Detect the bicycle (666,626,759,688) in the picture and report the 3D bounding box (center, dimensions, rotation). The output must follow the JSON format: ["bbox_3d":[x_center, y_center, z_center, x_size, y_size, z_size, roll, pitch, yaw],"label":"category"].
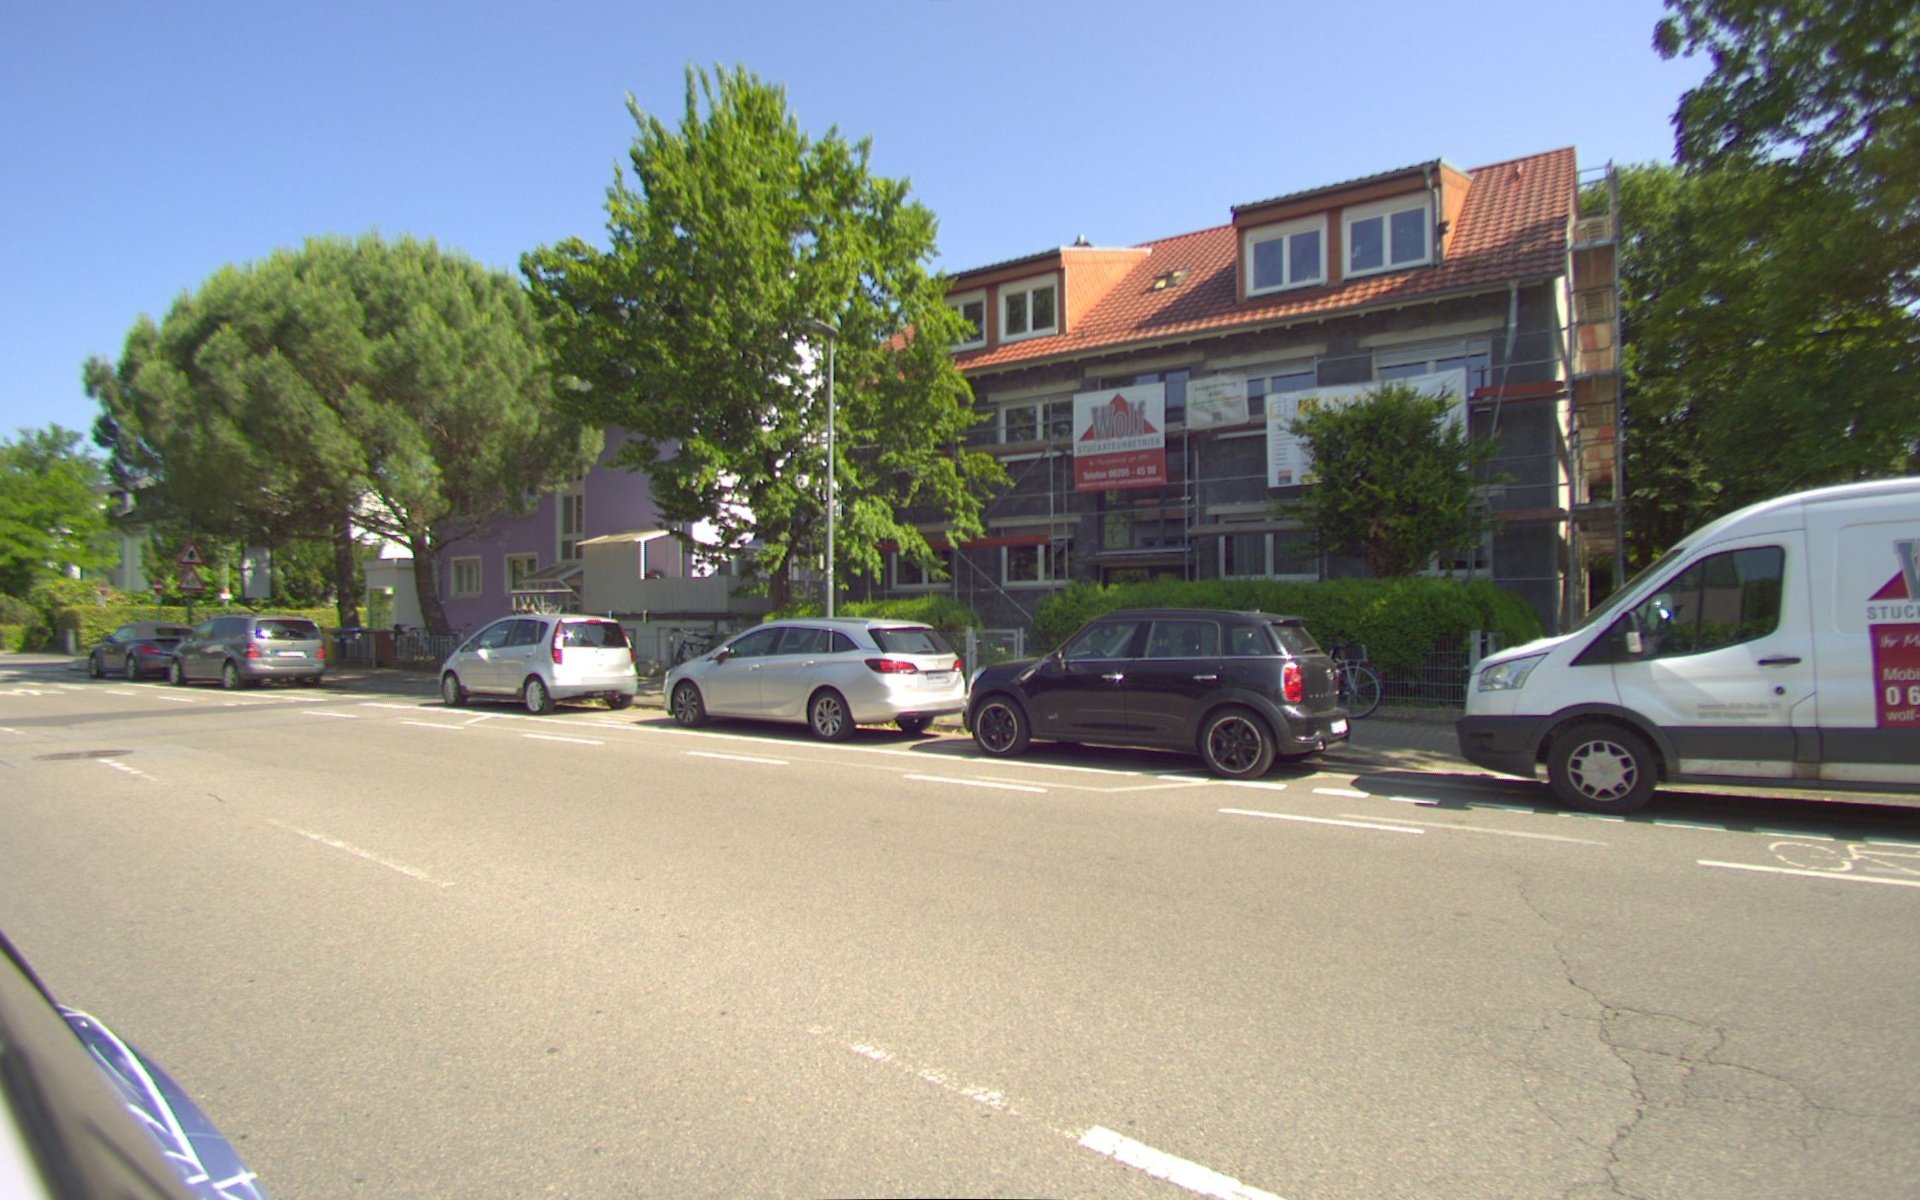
[{"bbox_3d":[-4.896,1.099,19.952,2.236,1.148,0.508,-1,-1,38],"label":"bicycle"}]

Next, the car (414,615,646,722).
[{"bbox_3d":[-7.154,1.076,16.728,3.991,1.571,1.705,-2,-3,36],"label":"car"}]

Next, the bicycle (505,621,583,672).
[{"bbox_3d":[-11.760,1.306,28.663,0.501,1.394,2.155,-2,-3,31],"label":"bicycle"}]

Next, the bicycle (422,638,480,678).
[{"bbox_3d":[-12.869,1.459,25.554,1.909,0.961,0.454,-1,-2,35],"label":"bicycle"}]

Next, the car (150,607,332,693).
[{"bbox_3d":[-16.222,1.106,22.772,4.573,1.778,1.825,-2,-3,34],"label":"car"}]

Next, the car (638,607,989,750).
[{"bbox_3d":[-2.017,0.945,13.171,4.662,1.571,1.705,-2,-3,36],"label":"car"}]

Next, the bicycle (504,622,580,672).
[{"bbox_3d":[-12.045,1.346,29.252,0.501,1.394,2.155,-2,-3,31],"label":"bicycle"}]

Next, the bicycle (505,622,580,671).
[{"bbox_3d":[-12.299,1.373,29.894,0.501,1.394,2.155,-2,-3,31],"label":"bicycle"}]

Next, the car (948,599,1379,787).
[{"bbox_3d":[1.976,0.855,10.365,3.991,1.571,1.705,-2,-3,36],"label":"car"}]

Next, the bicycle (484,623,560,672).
[{"bbox_3d":[-12.914,1.409,29.902,0.500,1.394,2.155,-2,-3,31],"label":"bicycle"}]

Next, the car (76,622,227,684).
[{"bbox_3d":[-20.718,1.351,25.902,4.182,1.468,1.825,-2,-3,34],"label":"car"}]

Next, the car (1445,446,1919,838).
[{"bbox_3d":[6.890,0.296,7.272,5.933,2.516,2.073,-2,-3,32],"label":"car"}]

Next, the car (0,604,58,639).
[{"bbox_3d":[-49.951,1.131,52.960,2.001,1.830,3.942,-2,-3,44],"label":"car"}]

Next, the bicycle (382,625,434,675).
[{"bbox_3d":[-14.590,1.301,26.727,1.910,1.276,0.453,-1,-2,37],"label":"bicycle"}]

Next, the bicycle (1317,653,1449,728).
[{"bbox_3d":[5.311,1.119,12.733,1.488,0.870,0.400,-1,-1,30],"label":"bicycle"}]
